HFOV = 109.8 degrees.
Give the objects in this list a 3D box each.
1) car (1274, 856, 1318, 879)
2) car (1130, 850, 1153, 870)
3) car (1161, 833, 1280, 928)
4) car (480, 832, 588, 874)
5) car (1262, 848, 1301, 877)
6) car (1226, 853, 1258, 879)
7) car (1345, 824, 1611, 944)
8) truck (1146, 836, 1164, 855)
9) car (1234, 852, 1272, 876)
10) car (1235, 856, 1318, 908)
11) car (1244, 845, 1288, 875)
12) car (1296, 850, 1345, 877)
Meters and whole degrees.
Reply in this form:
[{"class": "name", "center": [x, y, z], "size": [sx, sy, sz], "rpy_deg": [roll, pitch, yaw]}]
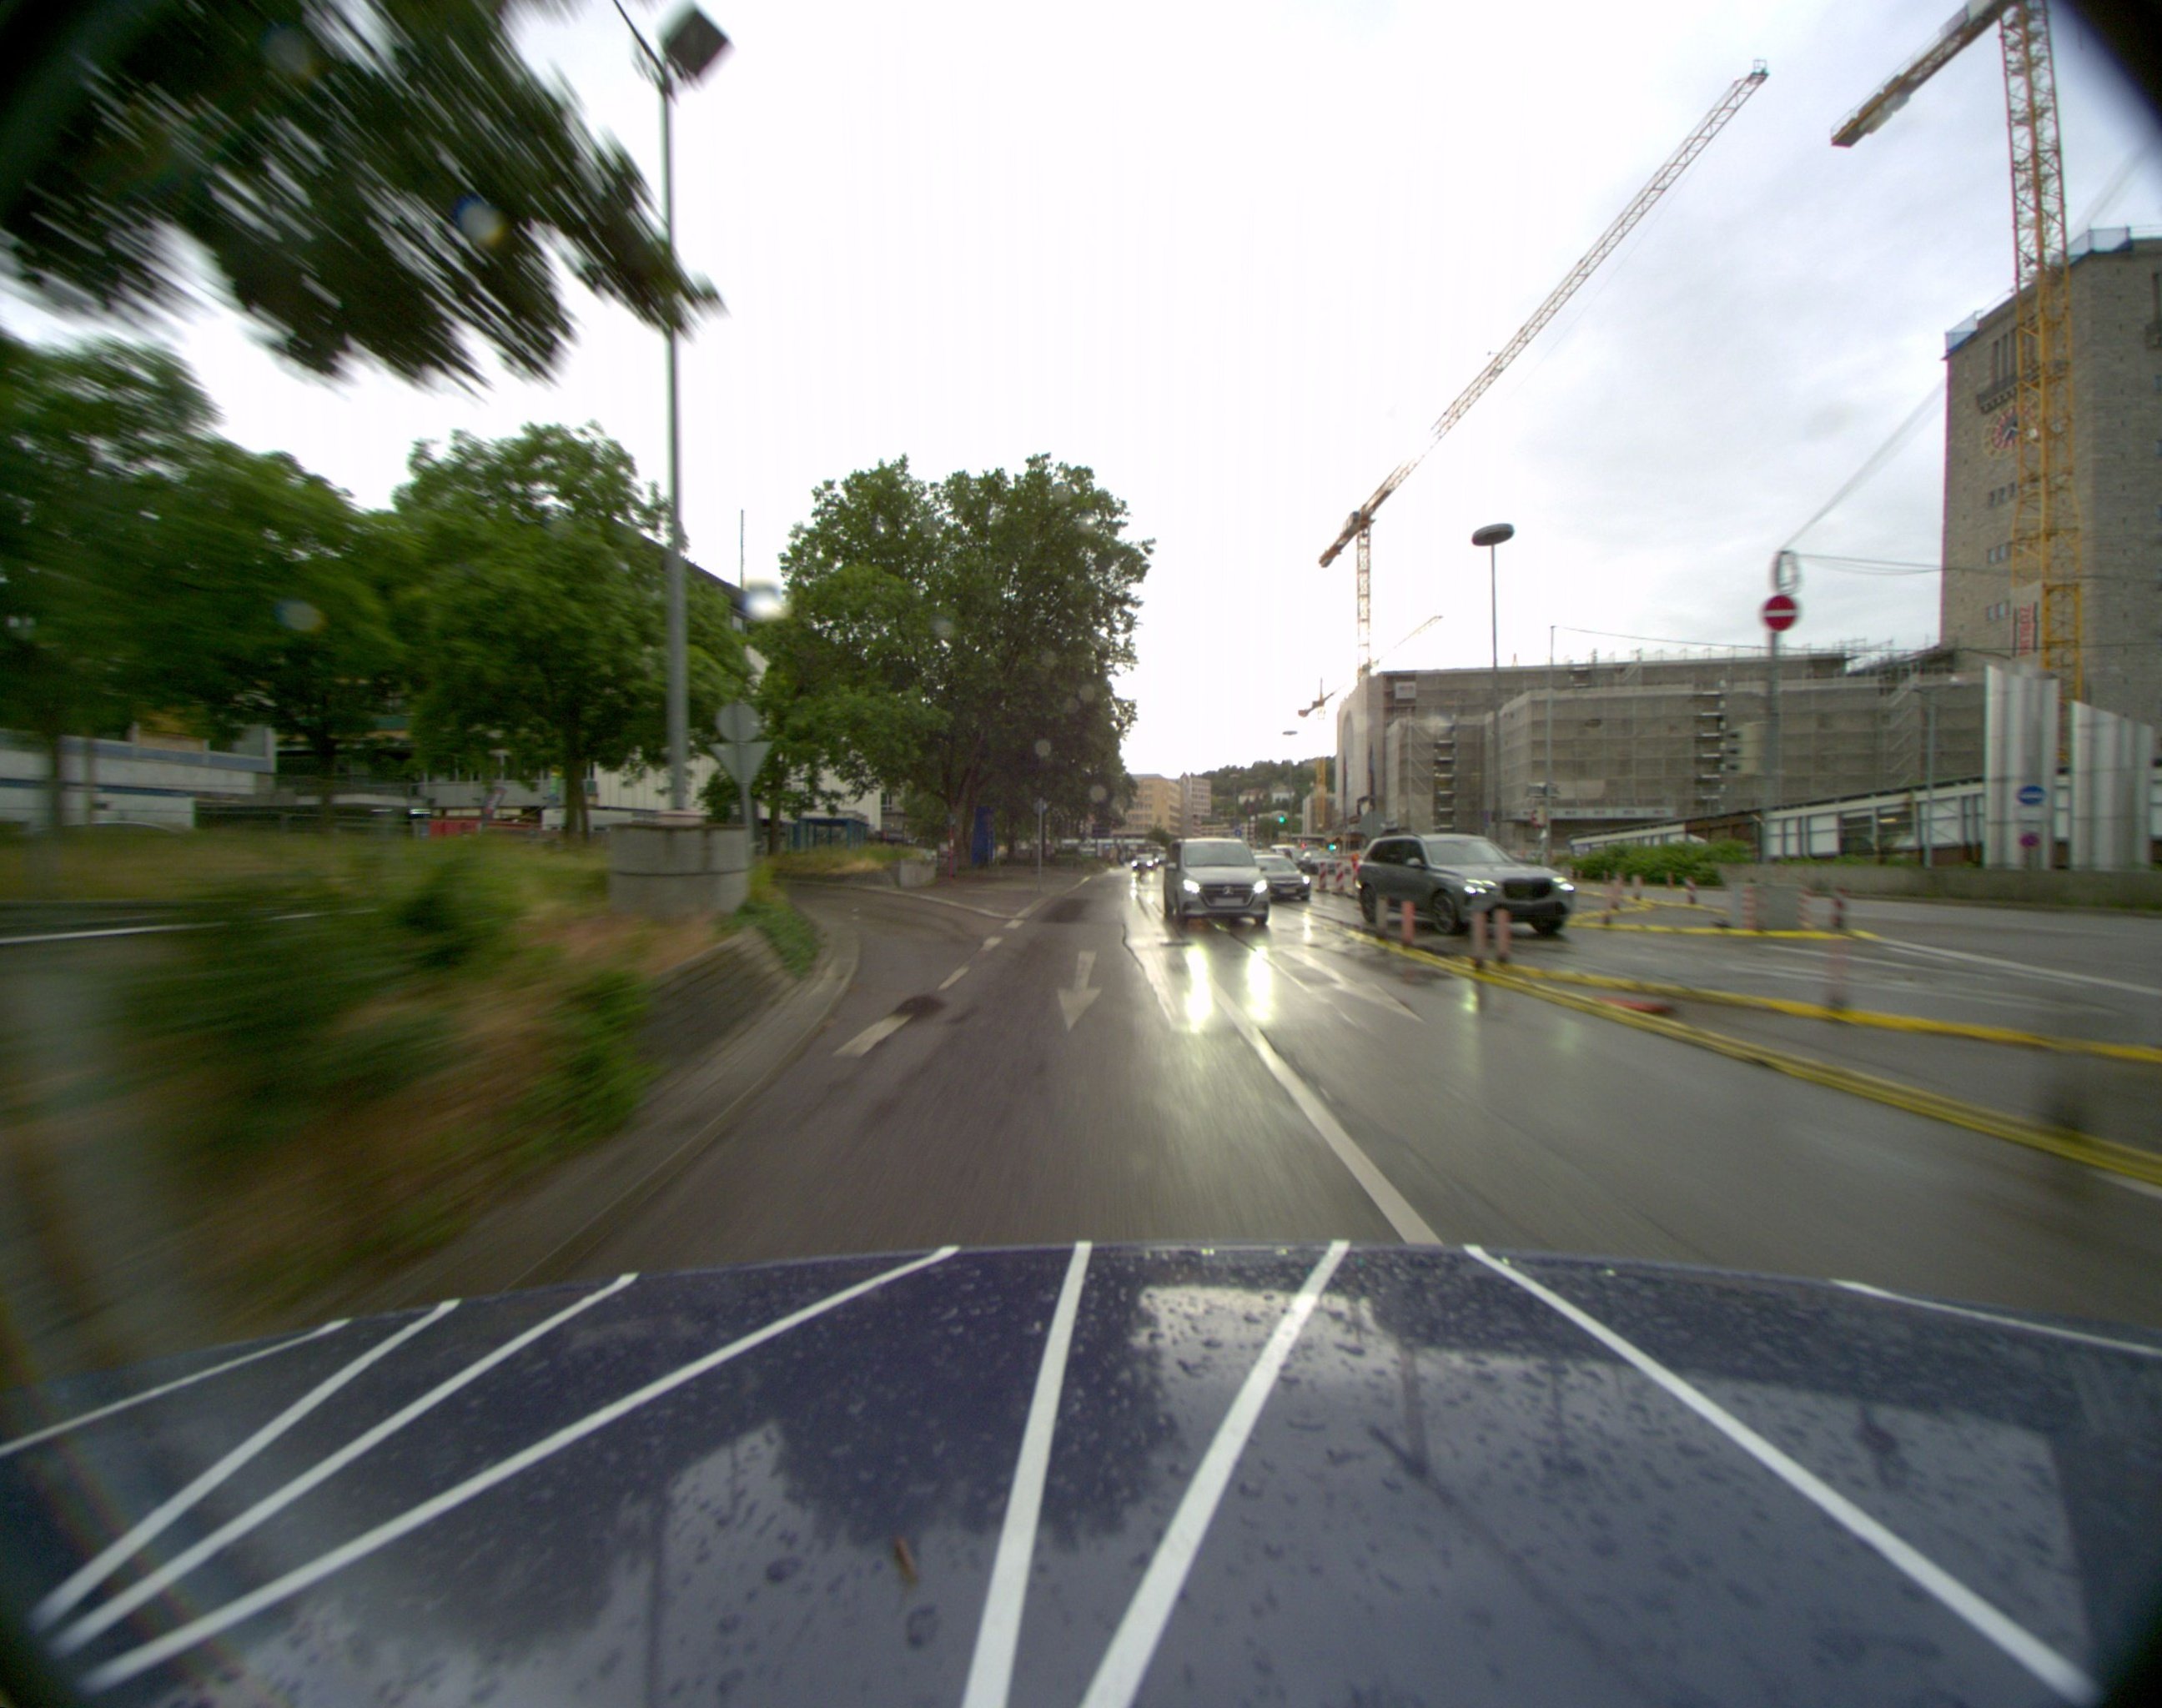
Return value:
[{"class": "car", "center": [15.552, 0.921, 55.107], "size": [2.172, 1.564, 4.001], "rpy_deg": [1, 0, 3]}, {"class": "car", "center": [5.606, 0.538, 70.645], "size": [1.998, 1.753, 4.001], "rpy_deg": [1, 0, 3]}, {"class": "car", "center": [3.040, 0.558, 17.745], "size": [1.998, 1.845, 5.359], "rpy_deg": [-1, -1, 3]}, {"class": "car", "center": [-21.517, -0.018, 29.924], "size": [3.347, 1.581, 1.790], "rpy_deg": [1, 0, -38]}, {"class": "car", "center": [16.140, 0.689, 61.407], "size": [2.003, 2.194, 4.998], "rpy_deg": [1, 0, 4]}, {"class": "car", "center": [13.512, 0.990, 64.146], "size": [1.998, 2.101, 4.715], "rpy_deg": [1, 0, 5]}, {"class": "car", "center": [7.102, 0.464, 14.420], "size": [2.215, 1.852, 5.072], "rpy_deg": [0, 0, -3]}, {"class": "truck", "center": [13.734, -1.527, 141.295], "size": [3.043, 3.395, 8.956], "rpy_deg": [1, 0, 4]}, {"class": "car", "center": [12.422, 0.731, 55.060], "size": [1.998, 1.644, 4.903], "rpy_deg": [1, 0, 5]}, {"class": "car", "center": [6.510, 0.875, 25.860], "size": [1.812, 1.455, 4.920], "rpy_deg": [5, 0, 5]}, {"class": "car", "center": [11.981, 0.366, 49.568], "size": [1.998, 1.803, 4.294], "rpy_deg": [1, 0, 3]}, {"class": "car", "center": [15.232, 0.583, 48.613], "size": [1.832, 1.643, 4.574], "rpy_deg": [1, 0, 3]}]
